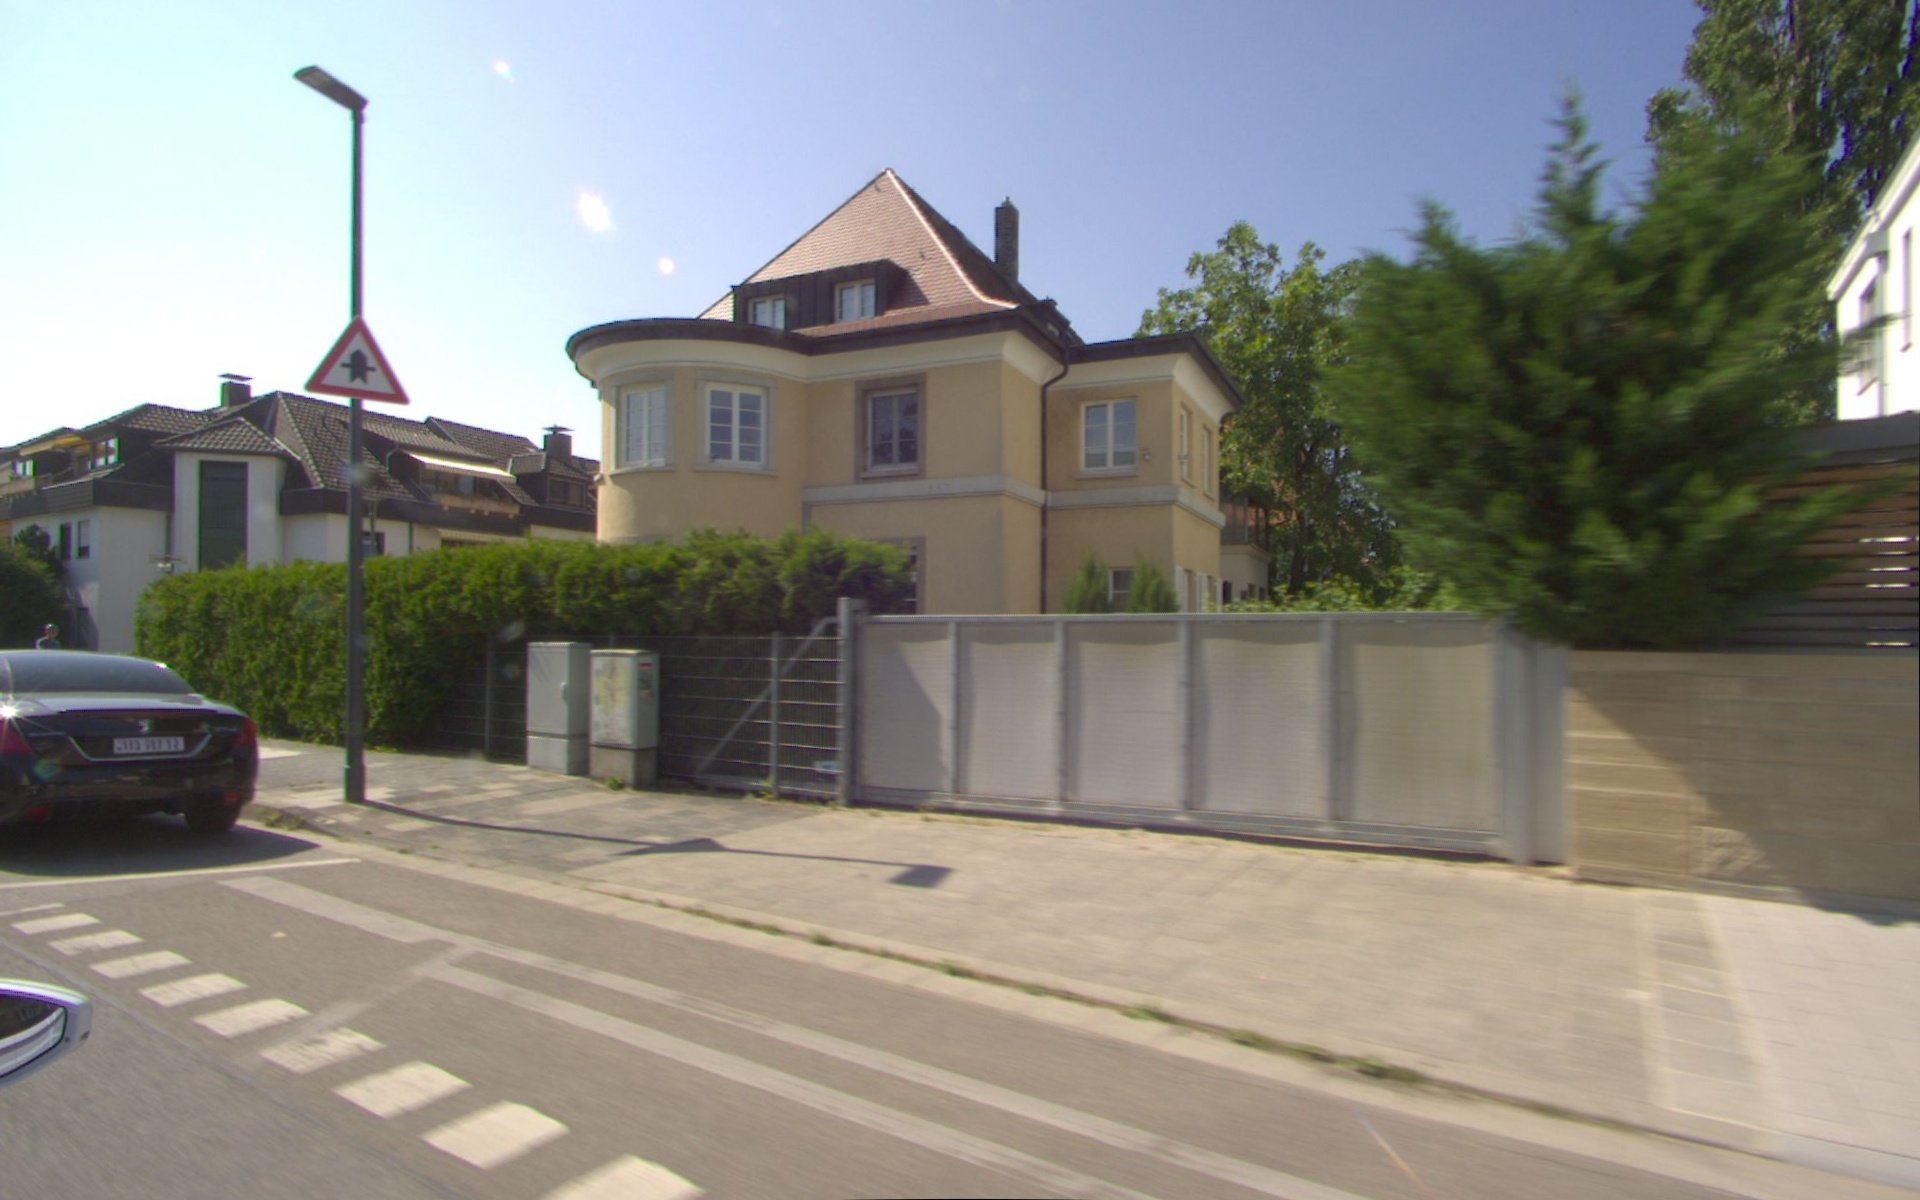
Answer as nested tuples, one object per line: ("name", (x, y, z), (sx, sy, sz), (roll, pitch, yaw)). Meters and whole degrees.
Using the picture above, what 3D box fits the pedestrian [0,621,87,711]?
("pedestrian", (-20.016, 1.429, 21.813), (1.166, 1.896, 0.902), (0, -2, 0))

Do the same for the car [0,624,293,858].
("car", (-7.519, 1.010, 8.209), (4.282, 1.485, 1.736), (-1, -5, 32))

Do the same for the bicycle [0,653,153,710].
("bicycle", (-19.226, 1.725, 21.589), (2.669, 1.173, 0.861), (1, -2, -25))
